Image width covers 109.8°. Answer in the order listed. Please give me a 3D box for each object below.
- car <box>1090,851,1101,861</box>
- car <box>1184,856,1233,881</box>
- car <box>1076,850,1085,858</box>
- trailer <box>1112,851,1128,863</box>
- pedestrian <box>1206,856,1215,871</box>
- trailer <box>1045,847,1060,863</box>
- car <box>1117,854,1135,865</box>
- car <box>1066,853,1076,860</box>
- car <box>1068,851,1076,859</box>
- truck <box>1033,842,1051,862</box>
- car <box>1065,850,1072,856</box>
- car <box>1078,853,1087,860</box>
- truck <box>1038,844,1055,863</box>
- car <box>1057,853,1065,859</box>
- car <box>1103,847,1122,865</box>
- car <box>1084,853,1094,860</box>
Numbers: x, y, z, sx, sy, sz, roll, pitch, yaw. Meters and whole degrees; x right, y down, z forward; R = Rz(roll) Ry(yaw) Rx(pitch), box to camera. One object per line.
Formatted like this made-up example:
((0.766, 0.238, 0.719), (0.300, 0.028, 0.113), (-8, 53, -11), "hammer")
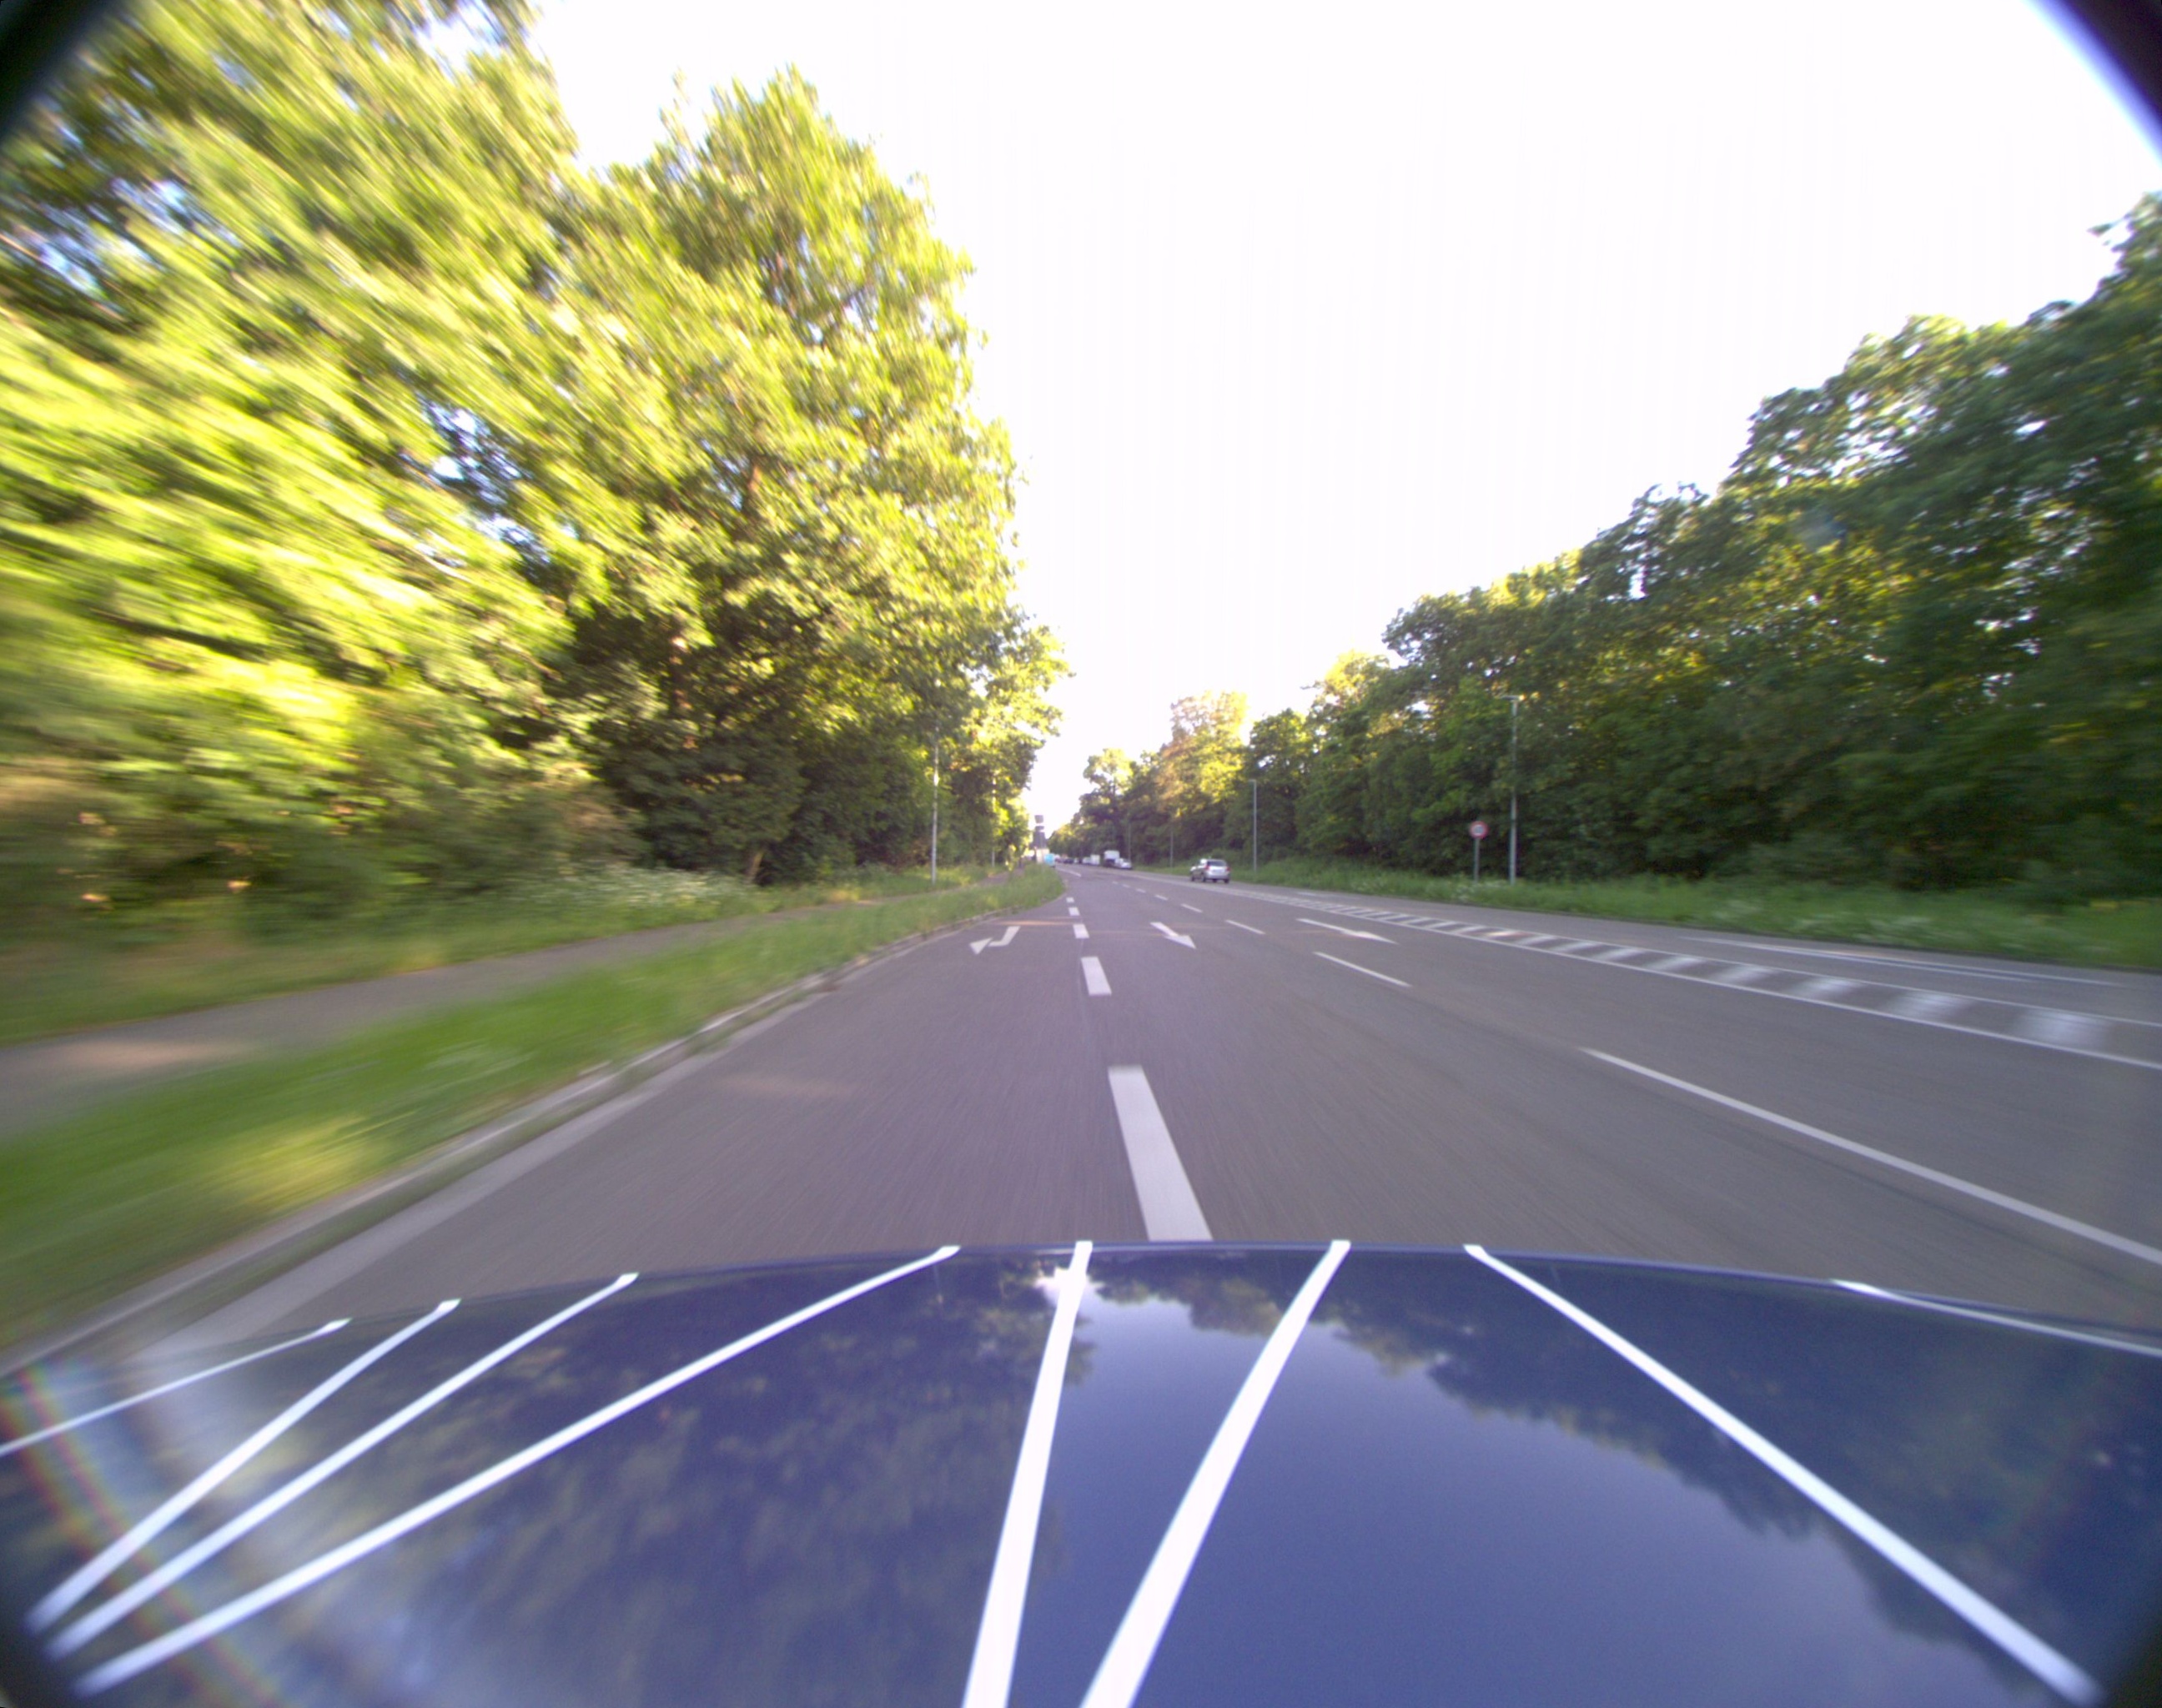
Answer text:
((3.003, 0.427, 156.281), (1.692, 2.089, 4.630), (2, 0, -5), "car")
((8.033, 0.876, 48.342), (1.834, 1.446, 4.478), (3, 0, -6), "car")
((-0.193, -0.021, 192.122), (1.999, 2.002, 3.998), (1, 0, -5), "car")
((5.814, 0.398, 112.373), (1.807, 1.719, 3.645), (2, 0, -5), "trailer")
((13.326, 0.992, 78.179), (0.713, 1.556, 0.826), (1, 0, -2), "pedestrian")
((-3.971, 0.080, 104.219), (1.870, 2.165, 4.127), (-1, 1, -5), "trailer")
((6.264, 0.727, 107.194), (1.915, 1.455, 4.010), (2, 0, -5), "car")
((-2.246, 0.606, 171.937), (1.915, 1.455, 4.355), (2, 0, -5), "car")
((-2.491, 0.284, 219.622), (1.999, 2.002, 3.998), (1, 0, -4), "car")
((-6.621, -0.363, 129.700), (2.707, 3.218, 7.124), (2, 0, -5), "truck")
((-4.423, -0.282, 262.760), (2.000, 2.002, 3.997), (1, 0, -7), "car")
((0.456, 0.614, 184.581), (1.807, 1.496, 3.910), (2, 0, -5), "car")
((-5.480, -0.051, 119.607), (2.391, 2.855, 5.595), (-2, 1, -5), "truck")
((-5.169, 0.443, 198.612), (1.807, 1.455, 3.910), (2, 0, -5), "car")
((5.128, 0.294, 124.367), (2.461, 2.830, 4.796), (2, 0, -5), "car")
((1.831, 0.610, 168.784), (1.807, 1.496, 3.910), (2, 0, -5), "car")
